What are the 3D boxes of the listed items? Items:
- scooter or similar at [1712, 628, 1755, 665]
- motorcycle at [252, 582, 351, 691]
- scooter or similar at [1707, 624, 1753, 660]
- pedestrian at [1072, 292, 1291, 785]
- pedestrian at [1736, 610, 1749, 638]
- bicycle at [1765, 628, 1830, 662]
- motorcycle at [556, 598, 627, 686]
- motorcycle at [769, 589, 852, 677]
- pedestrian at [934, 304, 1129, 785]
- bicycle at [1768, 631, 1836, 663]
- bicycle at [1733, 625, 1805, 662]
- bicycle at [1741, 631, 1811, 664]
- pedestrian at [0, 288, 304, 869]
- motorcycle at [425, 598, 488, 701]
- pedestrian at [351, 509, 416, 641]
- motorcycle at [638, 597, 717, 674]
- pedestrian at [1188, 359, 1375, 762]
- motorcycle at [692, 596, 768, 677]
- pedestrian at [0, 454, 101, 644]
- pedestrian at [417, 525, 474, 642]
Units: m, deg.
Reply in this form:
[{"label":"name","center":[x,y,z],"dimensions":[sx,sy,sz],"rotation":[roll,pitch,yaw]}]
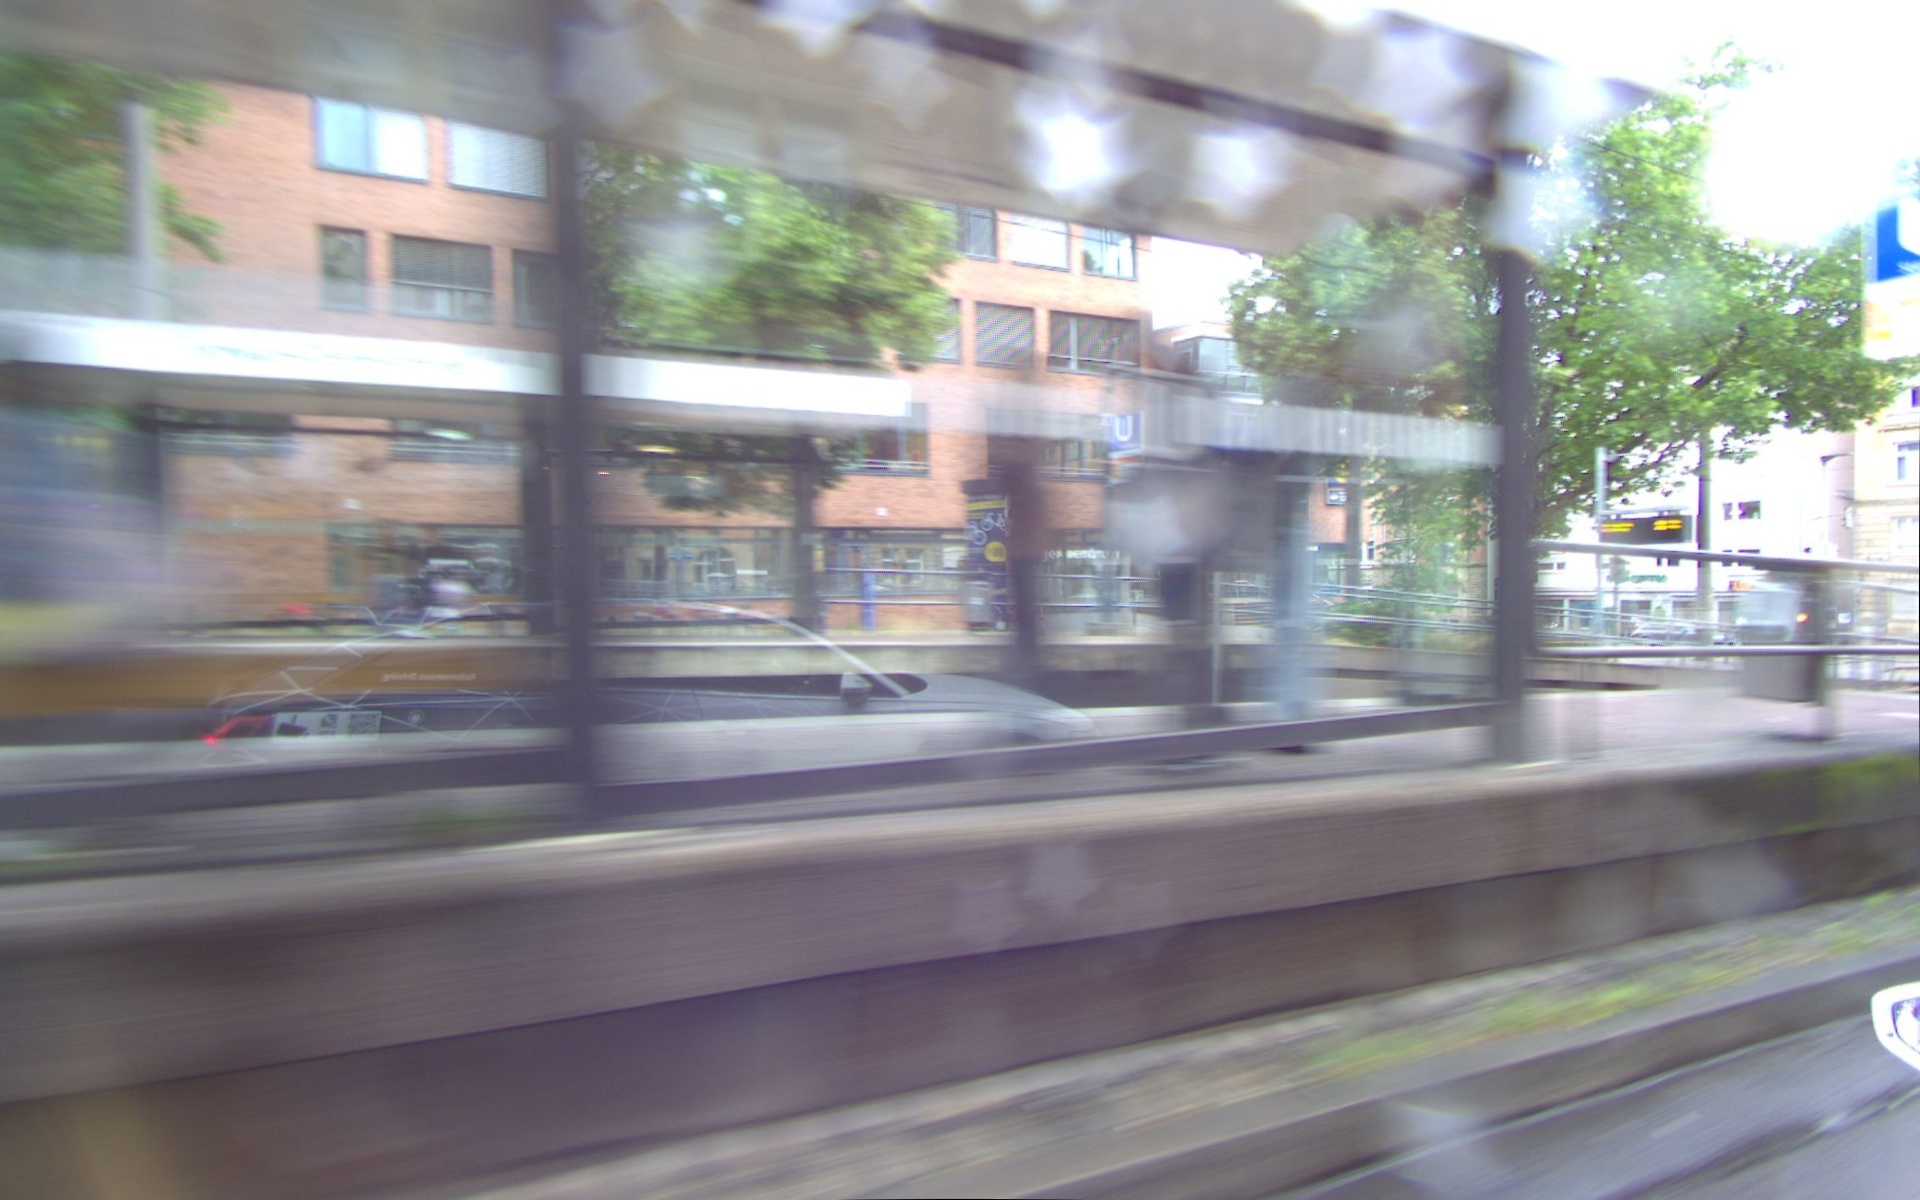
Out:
[{"label":"scooter or similar","center":[26.159,1.574,33.991],"dimensions":[1.090,1.211,0.362],"rotation":[0,0,15]},{"label":"motorcycle","center":[-12.001,0.602,18.457],"dimensions":[0.993,1.797,3.851],"rotation":[1,0,-25]},{"label":"scooter or similar","center":[26.431,1.444,34.499],"dimensions":[1.226,1.211,0.299],"rotation":[0,0,15]},{"label":"pedestrian","center":[0.836,-0.210,3.878],"dimensions":[0.578,1.710,0.612],"rotation":[1,0,-21]},{"label":"pedestrian","center":[46.647,1.406,59.857],"dimensions":[0.508,1.643,0.486],"rotation":[0,0,26]},{"label":"bicycle","center":[30.494,1.637,36.603],"dimensions":[0.512,1.158,1.755],"rotation":[1,0,-35]},{"label":"motorcycle","center":[-7.609,0.787,20.588],"dimensions":[0.993,1.627,3.851],"rotation":[1,0,-25]},{"label":"motorcycle","center":[-3.407,0.683,22.557],"dimensions":[0.980,1.840,3.027],"rotation":[1,0,-25]},{"label":"pedestrian","center":[0.247,-0.182,3.727],"dimensions":[0.499,1.602,0.612],"rotation":[1,0,-21]},{"label":"bicycle","center":[31.033,1.718,37.061],"dimensions":[0.512,1.079,1.858],"rotation":[1,0,-35]},{"label":"bicycle","center":[27.988,1.501,34.779],"dimensions":[0.512,1.211,1.858],"rotation":[1,0,-35]},{"label":"bicycle","center":[28.773,1.656,35.442],"dimensions":[0.513,1.076,1.858],"rotation":[1,0,-35]},{"label":"pedestrian","center":[-2.009,-0.043,2.497],"dimensions":[0.499,1.243,0.612],"rotation":[1,0,-21]},{"label":"motorcycle","center":[-9.912,0.891,19.874],"dimensions":[0.993,1.840,3.851],"rotation":[1,0,-25]},{"label":"pedestrian","center":[-6.294,-0.263,10.993],"dimensions":[0.557,1.381,0.774],"rotation":[0,1,-26]},{"label":"motorcycle","center":[-6.165,0.700,21.693],"dimensions":[0.993,1.507,3.851],"rotation":[1,0,-25]},{"label":"pedestrian","center":[1.383,-0.154,4.380],"dimensions":[0.499,1.602,0.612],"rotation":[1,0,-21]},{"label":"motorcycle","center":[-5.089,0.736,22.033],"dimensions":[0.993,1.649,3.048],"rotation":[1,0,-25]},{"label":"pedestrian","center":[-8.707,-0.470,9.545],"dimensions":[0.696,1.738,0.560],"rotation":[0,1,-27]},{"label":"pedestrian","center":[-5.744,-0.184,11.239],"dimensions":[0.557,1.257,0.701],"rotation":[0,1,-26]}]
